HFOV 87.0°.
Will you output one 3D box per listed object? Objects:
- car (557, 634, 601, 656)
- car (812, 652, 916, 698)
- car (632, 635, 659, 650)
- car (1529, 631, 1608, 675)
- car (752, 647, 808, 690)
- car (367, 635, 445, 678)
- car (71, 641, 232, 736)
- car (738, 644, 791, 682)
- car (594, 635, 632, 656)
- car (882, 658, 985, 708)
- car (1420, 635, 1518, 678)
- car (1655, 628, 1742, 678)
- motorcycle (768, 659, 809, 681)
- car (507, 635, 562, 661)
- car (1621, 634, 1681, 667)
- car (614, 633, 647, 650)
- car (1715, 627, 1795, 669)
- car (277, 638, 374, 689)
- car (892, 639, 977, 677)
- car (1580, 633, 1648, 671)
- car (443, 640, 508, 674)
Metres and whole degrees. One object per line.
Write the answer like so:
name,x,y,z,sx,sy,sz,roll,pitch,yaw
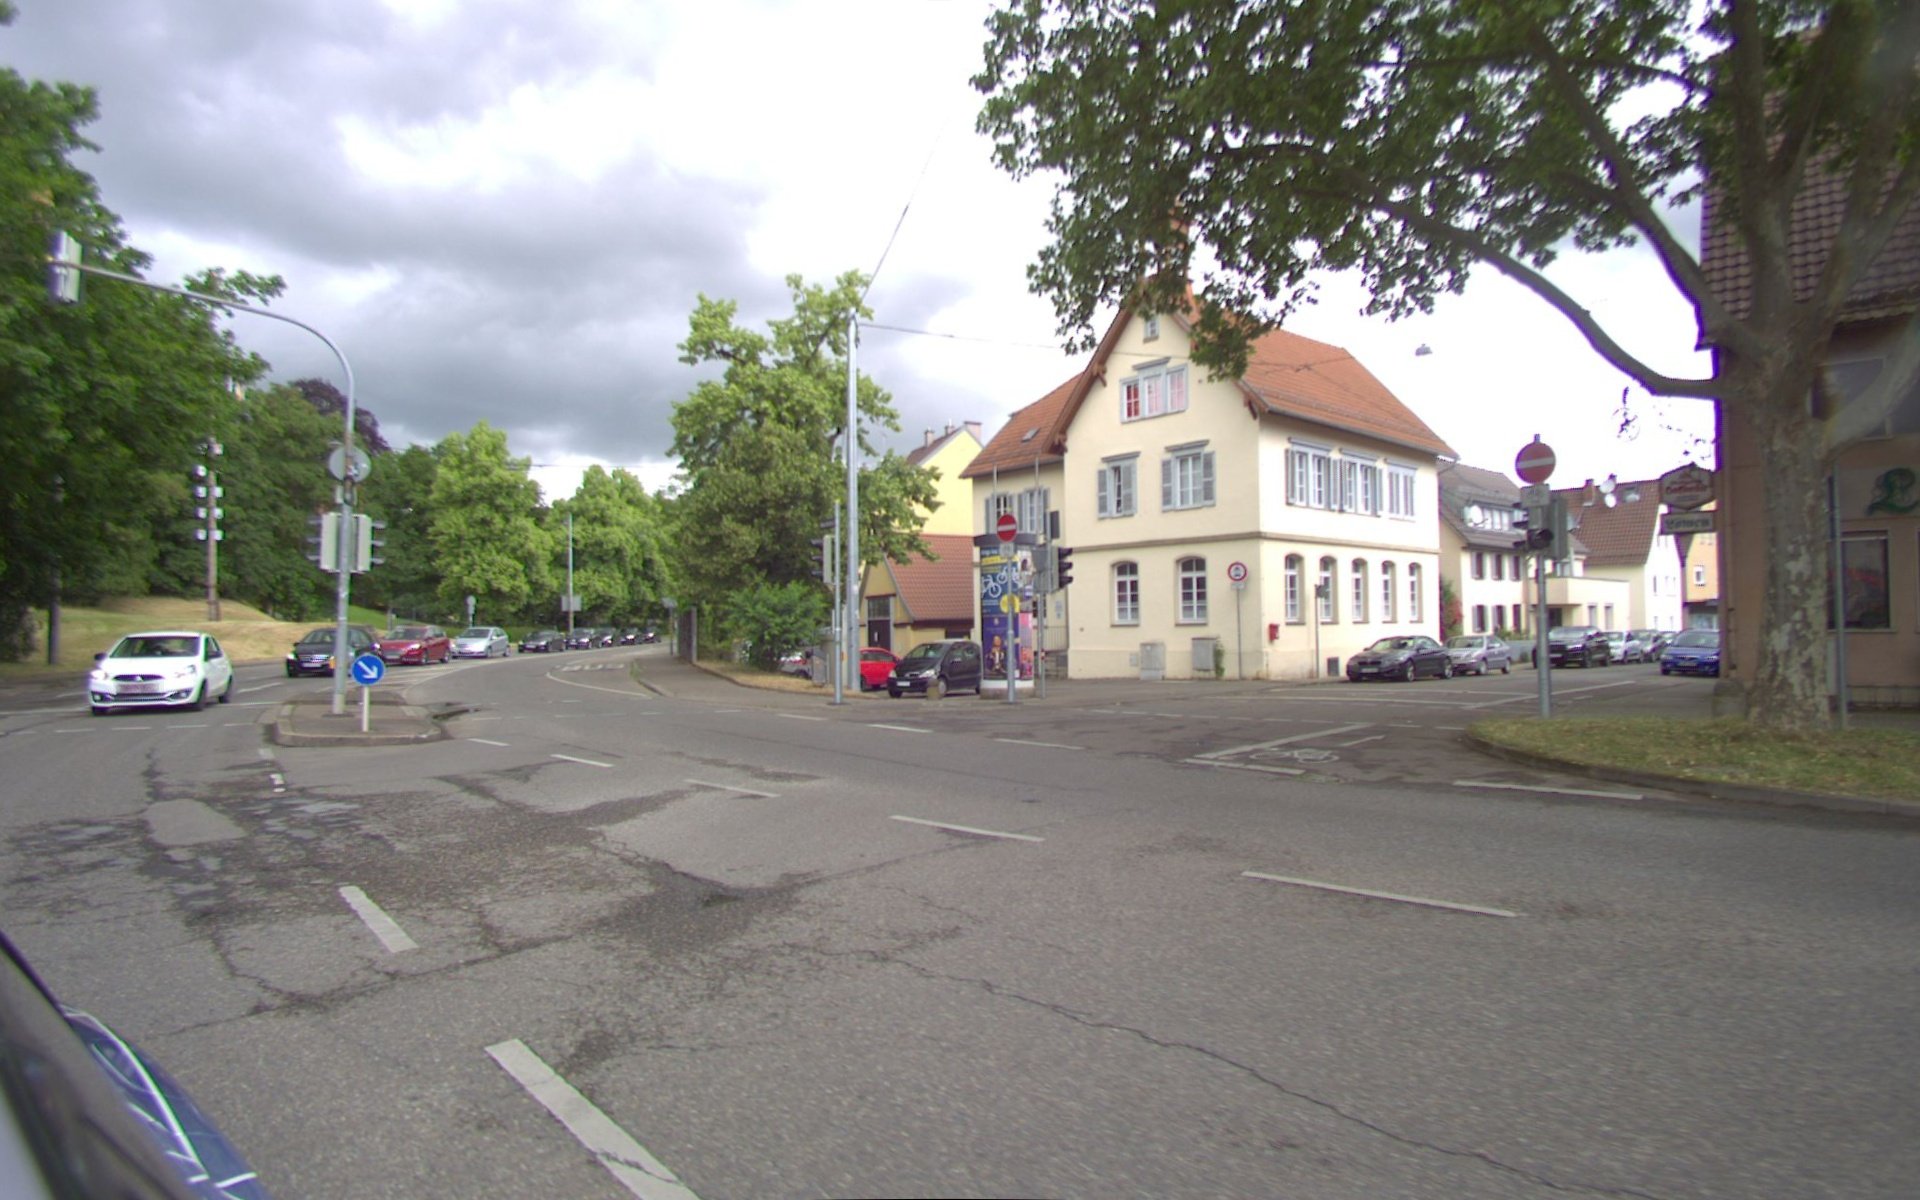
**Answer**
car,-25.782,3.048,68.621,1.673,1.422,3.984,0,-2,-3
car,-3.210,2.510,34.347,1.596,1.364,3.586,-2,-2,36
car,-27.089,3.648,87.263,1.400,1.259,3.298,0,-2,-3
car,24.744,2.120,41.113,3.785,1.696,1.748,1,-3,-43
car,-7.867,2.931,43.915,1.869,1.640,4.012,0,-2,-17
car,-23.005,2.315,42.189,1.649,1.654,4.109,0,-2,-11
car,-15.177,1.577,19.203,1.601,1.520,4.013,0,-2,-27
car,-9.311,2.930,47.976,1.903,1.620,3.673,0,-1,-19
car,-25.663,3.366,74.947,1.683,1.457,3.870,0,-2,-4
car,-0.716,2.337,29.071,1.477,1.320,3.366,-2,-4,29
car,17.307,1.882,34.349,3.805,1.325,1.714,1,-2,-43
car,24.842,1.743,34.006,1.829,1.526,3.615,-2,-2,44
motorcycle,-6.813,2.765,40.275,1.557,0.830,0.420,0,-2,-16
car,-25.648,2.864,61.152,1.828,1.469,4.002,0,-2,-3
car,34.399,2.489,50.345,1.829,1.526,3.615,-3,-2,44
car,-26.334,3.322,80.912,1.621,1.279,3.628,0,-2,-3
car,31.840,1.900,40.498,3.655,1.565,1.769,0,-2,-40
car,-20.874,2.041,33.452,1.702,1.532,4.012,0,-2,-16
car,-1.103,2.430,42.818,1.629,1.503,3.483,1,-2,-45
car,29.249,2.297,45.208,1.829,1.526,3.615,-3,-2,44
car,-24.439,2.849,51.174,1.756,1.581,4.006,0,-2,-7
